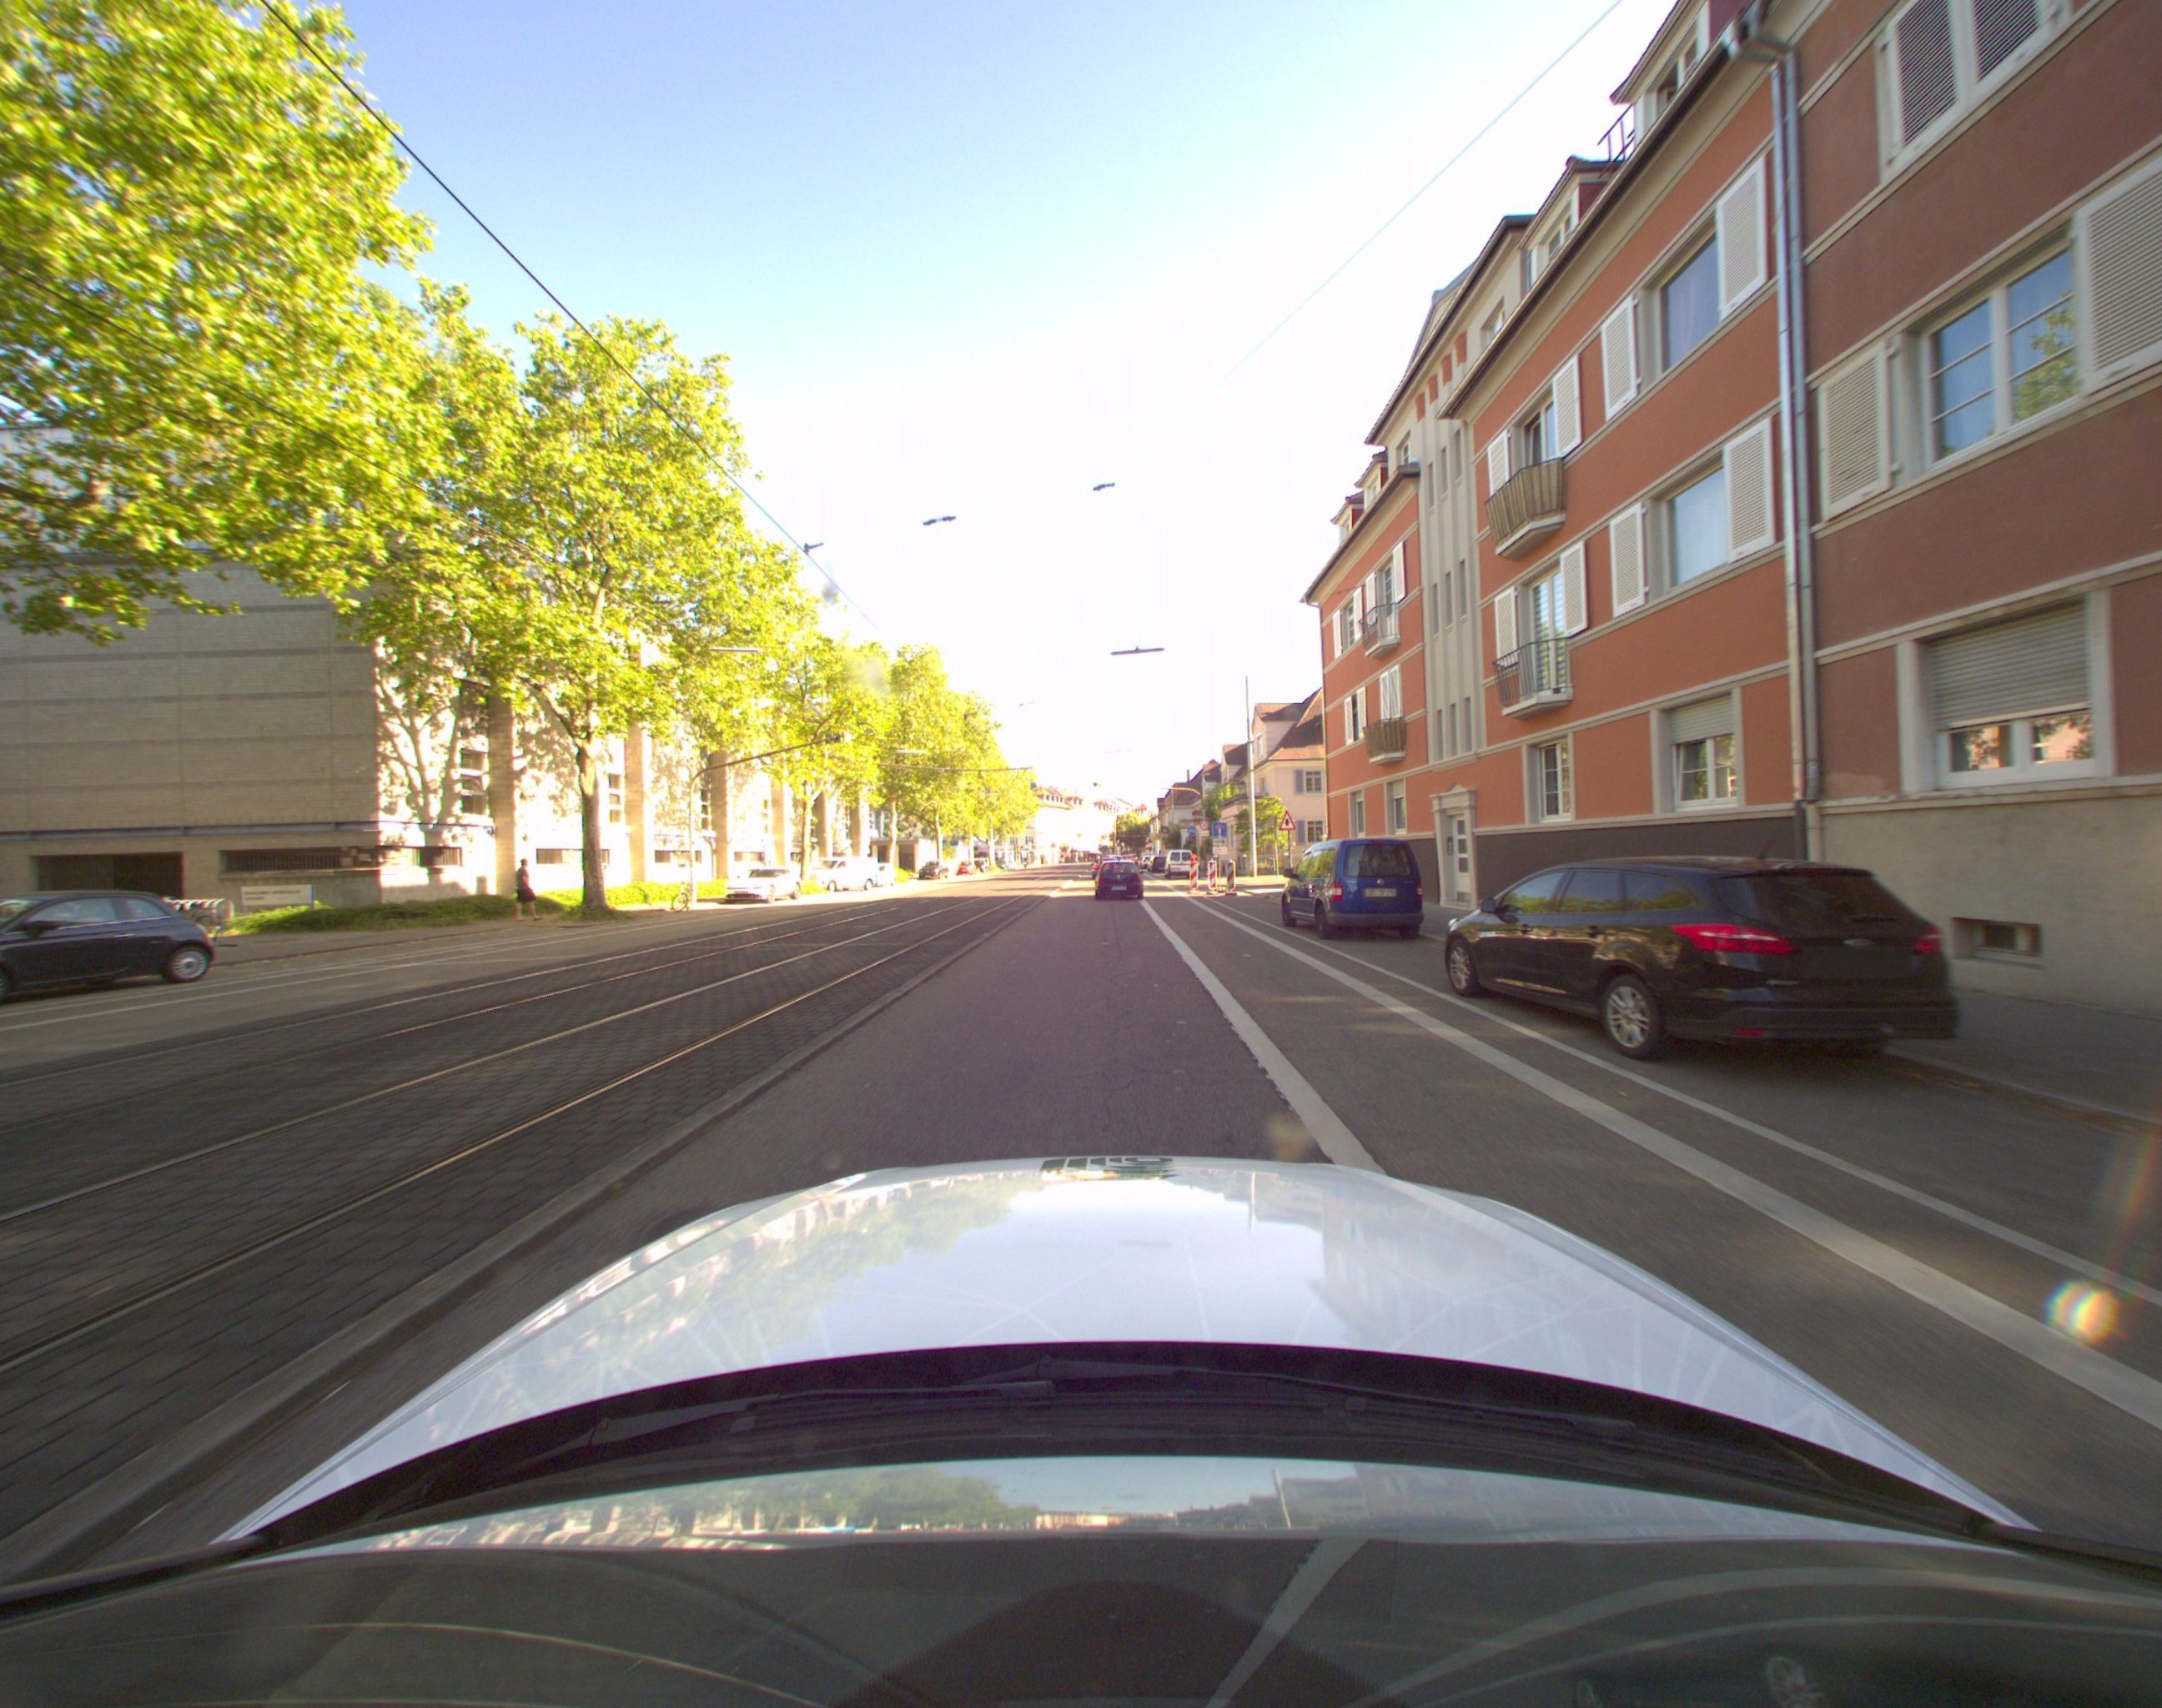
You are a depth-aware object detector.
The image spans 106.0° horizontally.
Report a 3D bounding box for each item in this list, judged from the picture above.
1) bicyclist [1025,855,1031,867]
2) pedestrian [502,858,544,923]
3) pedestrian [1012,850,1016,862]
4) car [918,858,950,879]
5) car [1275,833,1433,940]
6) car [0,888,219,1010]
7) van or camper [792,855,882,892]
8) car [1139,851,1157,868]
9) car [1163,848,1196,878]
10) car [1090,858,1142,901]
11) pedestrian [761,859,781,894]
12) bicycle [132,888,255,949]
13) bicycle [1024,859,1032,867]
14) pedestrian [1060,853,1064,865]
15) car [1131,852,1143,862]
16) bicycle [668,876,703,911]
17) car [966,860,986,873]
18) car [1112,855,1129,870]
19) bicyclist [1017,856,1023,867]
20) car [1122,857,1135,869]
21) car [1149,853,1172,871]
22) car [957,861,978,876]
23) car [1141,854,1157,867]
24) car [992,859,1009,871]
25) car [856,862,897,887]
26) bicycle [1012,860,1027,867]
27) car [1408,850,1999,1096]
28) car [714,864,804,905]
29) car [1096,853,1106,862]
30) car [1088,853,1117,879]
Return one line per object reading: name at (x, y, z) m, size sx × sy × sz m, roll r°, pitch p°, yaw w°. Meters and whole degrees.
bicyclist at (-8.099, 1.034, 124.118) m, size 0.910 × 1.833 × 0.961 m, roll 0°, pitch 0°, yaw 1°
pedestrian at (-16.393, 1.051, 23.936) m, size 0.783 × 1.870 × 0.670 m, roll 0°, pitch 0°, yaw -5°
pedestrian at (-15.851, 0.467, 192.149) m, size 0.955 × 2.659 × 1.096 m, roll 0°, pitch 0°, yaw -7°
car at (-12.645, 1.243, 70.130) m, size 1.880 × 1.666 × 4.002 m, roll -2°, pitch 0°, yaw 2°
car at (5.125, 0.556, 15.919) m, size 1.697 × 1.810 × 4.271 m, roll 0°, pitch 0°, yaw 0°
car at (-14.783, 1.309, 11.443) m, size 1.501 × 1.453 × 3.466 m, roll -1°, pitch 0°, yaw 3°
van or camper at (-13.650, 1.040, 45.935) m, size 2.042 × 1.949 × 5.217 m, roll 0°, pitch 0°, yaw 22°
car at (7.642, 0.638, 93.577) m, size 1.810 × 1.799 × 4.002 m, roll -2°, pitch 0°, yaw 2°
car at (6.170, 0.533, 51.206) m, size 1.752 × 1.838 × 3.549 m, roll 0°, pitch 0°, yaw 2°
car at (1.216, 0.867, 29.780) m, size 1.743 × 1.375 × 4.000 m, roll -2°, pitch 0°, yaw 1°
pedestrian at (-16.295, 1.163, 42.785) m, size 0.793 × 1.820 × 0.670 m, roll 0°, pitch 0°, yaw 1°
bicycle at (-19.441, 1.404, 17.854) m, size 2.001 × 1.278 × 0.664 m, roll 0°, pitch 0°, yaw 1°
bicycle at (-8.111, 1.389, 123.973) m, size 0.910 × 1.083 × 3.204 m, roll 0°, pitch 0°, yaw 2°
pedestrian at (-4.536, 1.197, 195.042) m, size 0.955 × 2.659 × 1.096 m, roll 0°, pitch 0°, yaw -7°
car at (8.399, 0.434, 122.096) m, size 1.630 × 1.472 × 3.731 m, roll -2°, pitch 0°, yaw 2°
bicycle at (-14.544, 1.441, 30.009) m, size 0.580 × 1.209 × 1.651 m, roll 0°, pitch 0°, yaw -4°
car at (-12.329, 1.482, 95.781) m, size 1.785 × 1.465 × 3.837 m, roll 1°, pitch 0°, yaw 2°
car at (3.906, 0.816, 81.843) m, size 1.630 × 1.472 × 3.731 m, roll -2°, pitch 0°, yaw 2°
bicyclist at (-11.133, 1.337, 148.881) m, size 0.873 × 2.009 × 0.706 m, roll 0°, pitch 0°, yaw 1°
car at (6.348, 1.191, 109.785) m, size 1.630 × 1.472 × 3.731 m, roll -2°, pitch 0°, yaw 2°
car at (6.894, 0.682, 70.962) m, size 1.654 × 1.526 × 4.038 m, roll -2°, pitch 0°, yaw 2°
car at (-12.092, 1.506, 86.726) m, size 1.564 × 1.533 × 3.573 m, roll -2°, pitch -1°, yaw 2°
car at (7.380, 0.670, 88.816) m, size 1.574 × 1.375 × 4.002 m, roll -2°, pitch 0°, yaw 2°
car at (-11.385, 1.591, 115.505) m, size 1.877 × 1.669 × 3.805 m, roll 0°, pitch 0°, yaw 1°
car at (-13.350, 1.317, 53.393) m, size 1.568 × 1.507 × 4.092 m, roll 0°, pitch 0°, yaw 2°
bicycle at (-11.254, 1.714, 148.882) m, size 2.732 × 1.262 × 0.706 m, roll 0°, pitch 0°, yaw 1°
car at (4.799, 0.730, 7.404) m, size 1.748 × 1.511 × 4.761 m, roll 0°, pitch 0°, yaw 0°
car at (-13.932, 1.278, 35.582) m, size 2.005 × 1.572 × 4.693 m, roll 0°, pitch 0°, yaw 0°
car at (3.292, 0.575, 133.615) m, size 1.630 × 1.472 × 3.731 m, roll -3°, pitch 0°, yaw 2°
car at (1.455, 0.762, 53.498) m, size 1.742 × 1.537 × 3.894 m, roll -2°, pitch 0°, yaw 2°
